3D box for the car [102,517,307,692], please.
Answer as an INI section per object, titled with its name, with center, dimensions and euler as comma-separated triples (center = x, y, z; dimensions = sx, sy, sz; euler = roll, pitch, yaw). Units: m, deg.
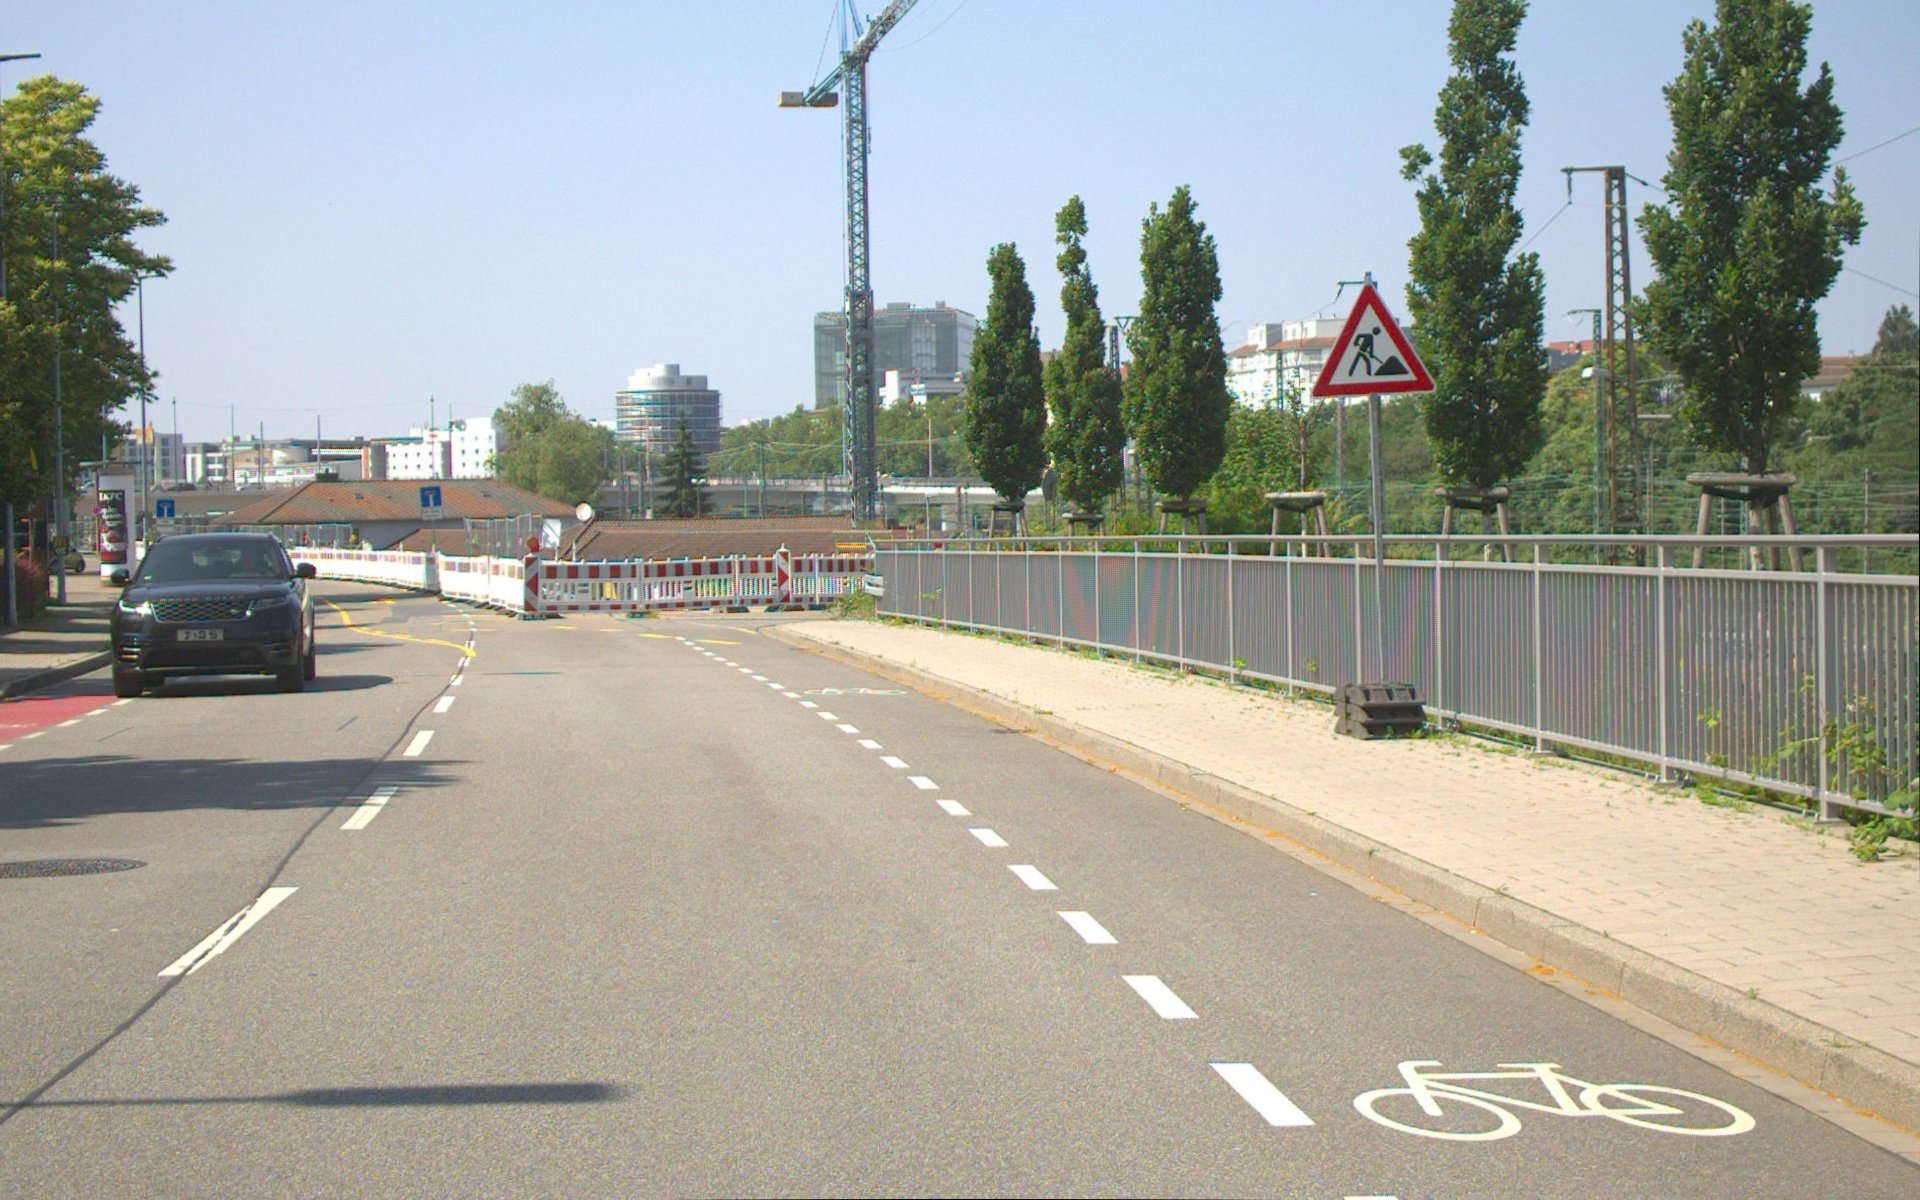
[car]
center = -8.101, -0.014, 36.612
dimensions = 1.949, 1.689, 4.614
euler = -2, 2, -14
